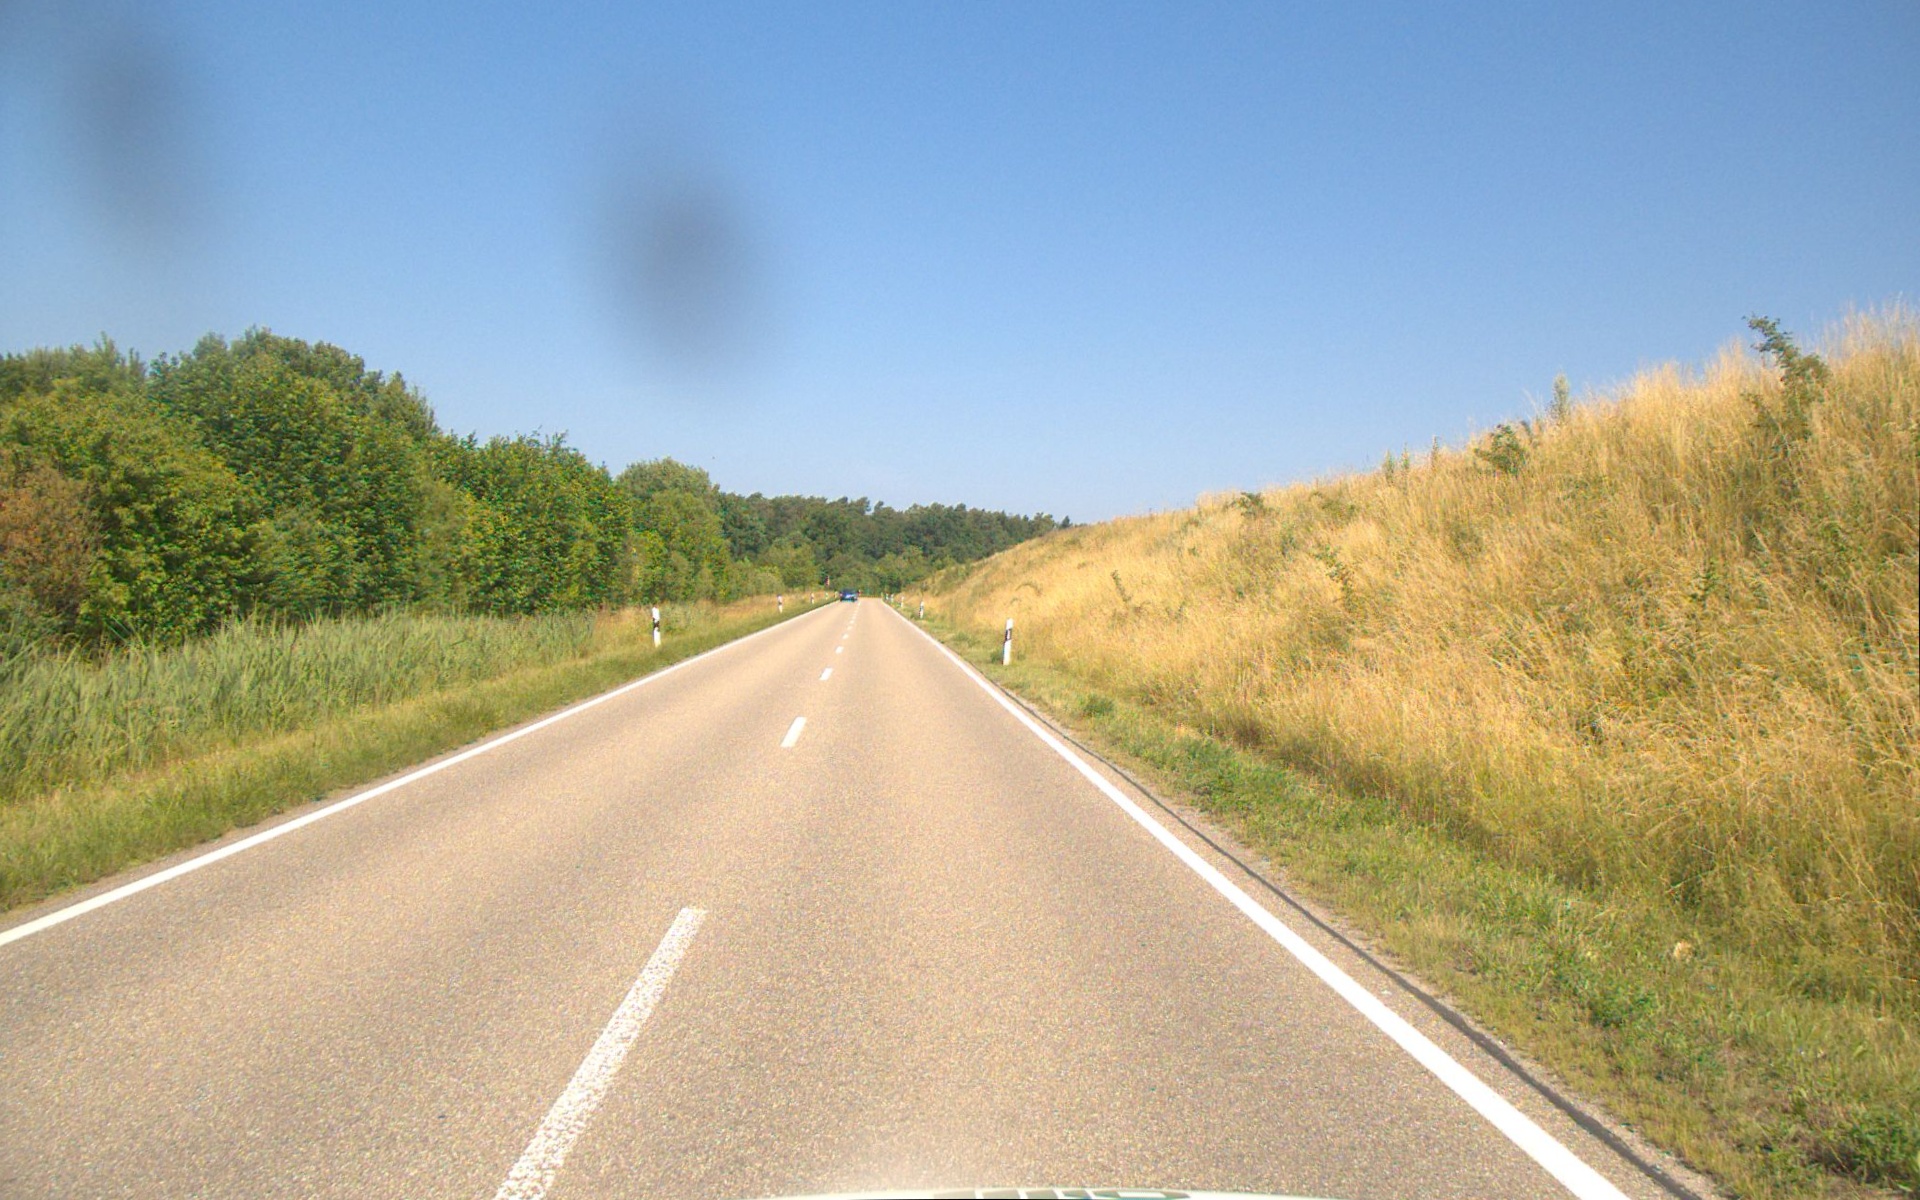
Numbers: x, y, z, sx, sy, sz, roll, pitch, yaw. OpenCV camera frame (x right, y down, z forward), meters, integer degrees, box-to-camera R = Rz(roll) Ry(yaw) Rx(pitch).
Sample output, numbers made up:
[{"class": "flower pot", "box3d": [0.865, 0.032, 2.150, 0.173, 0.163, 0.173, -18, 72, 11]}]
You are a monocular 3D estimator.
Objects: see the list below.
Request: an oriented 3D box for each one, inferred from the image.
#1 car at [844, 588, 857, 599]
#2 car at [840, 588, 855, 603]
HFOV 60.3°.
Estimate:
[{"class": "car", "box3d": [-14.879, -0.858, 225.372, 1.688, 1.377, 3.997, 2, 0, -4]}, {"class": "car", "box3d": [-13.520, -0.579, 198.723, 1.682, 1.675, 3.912, 2, 0, -4]}]
